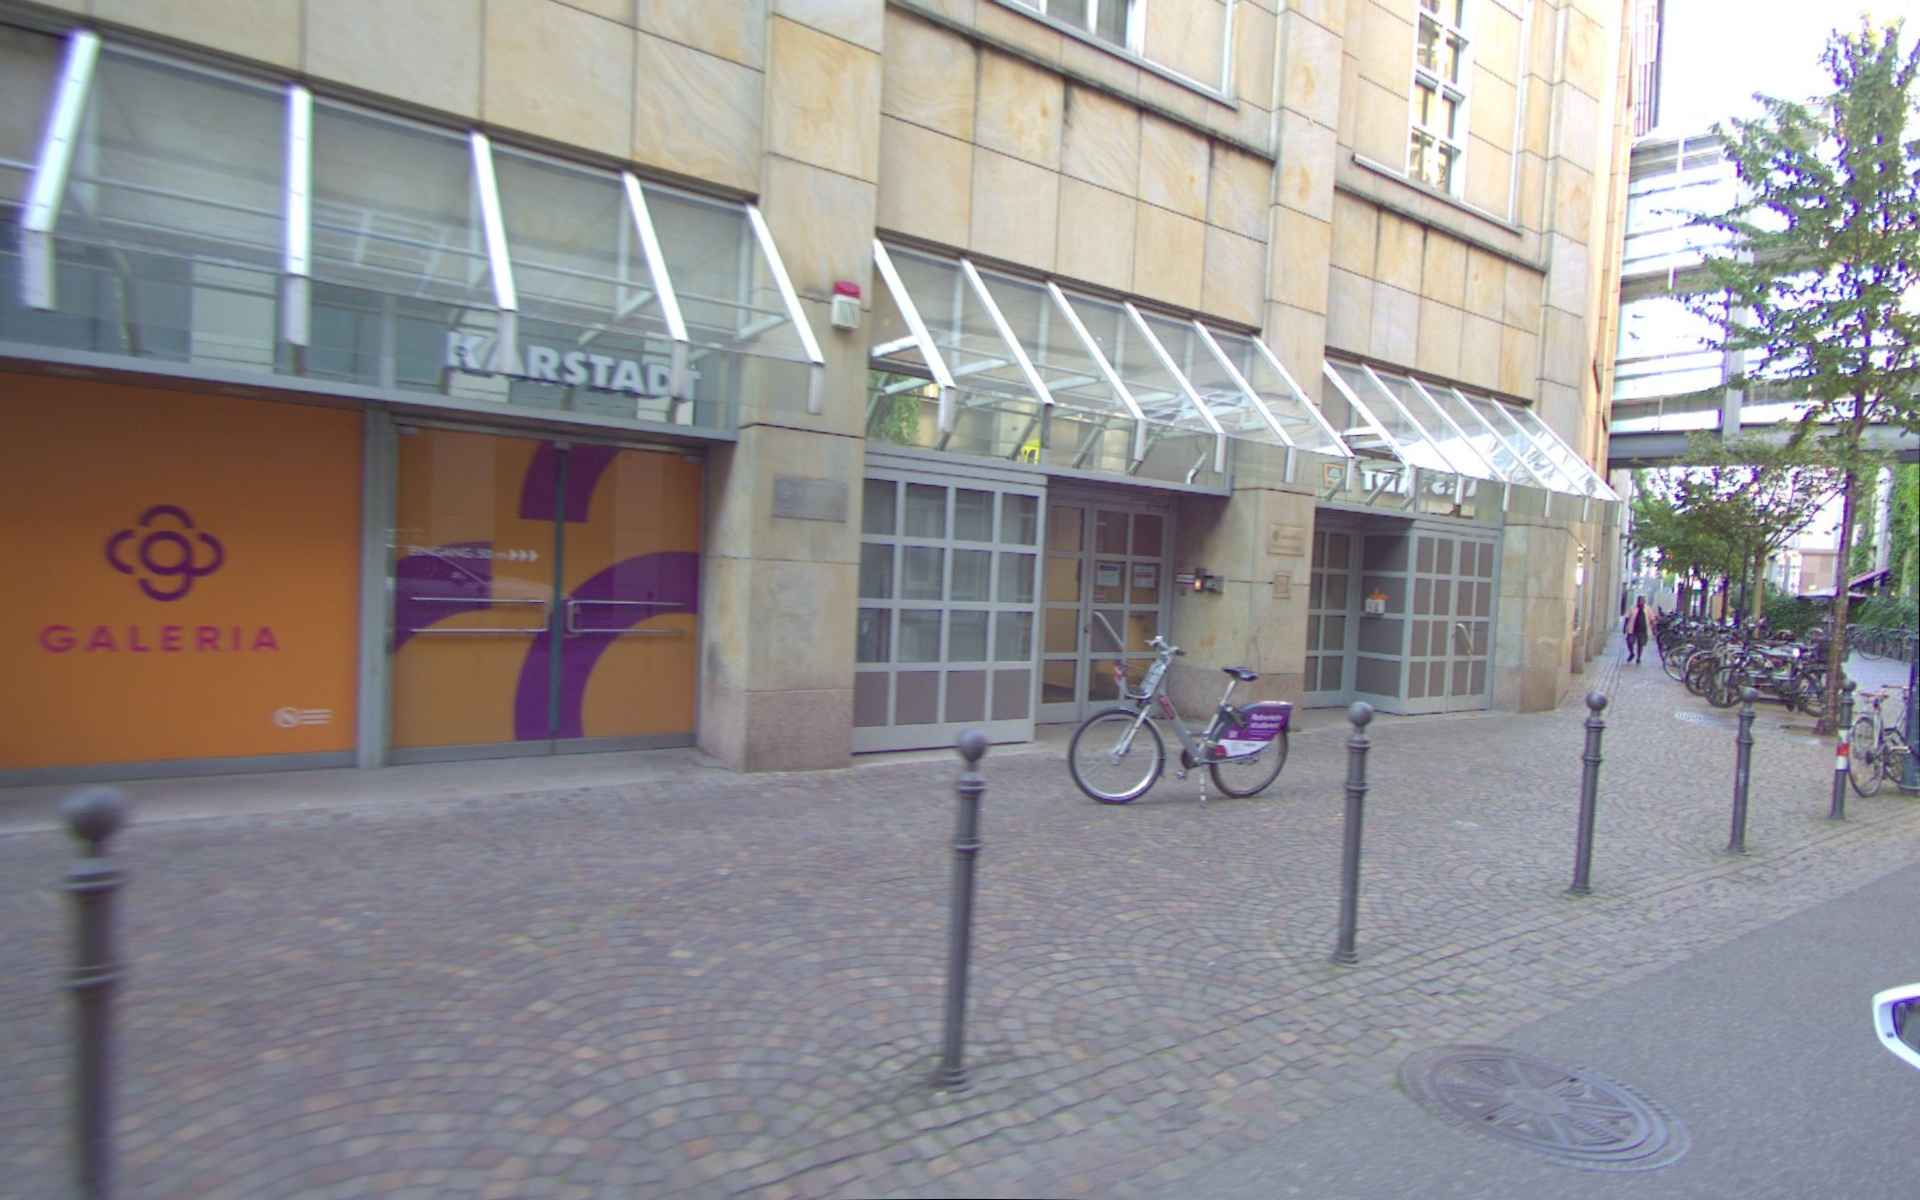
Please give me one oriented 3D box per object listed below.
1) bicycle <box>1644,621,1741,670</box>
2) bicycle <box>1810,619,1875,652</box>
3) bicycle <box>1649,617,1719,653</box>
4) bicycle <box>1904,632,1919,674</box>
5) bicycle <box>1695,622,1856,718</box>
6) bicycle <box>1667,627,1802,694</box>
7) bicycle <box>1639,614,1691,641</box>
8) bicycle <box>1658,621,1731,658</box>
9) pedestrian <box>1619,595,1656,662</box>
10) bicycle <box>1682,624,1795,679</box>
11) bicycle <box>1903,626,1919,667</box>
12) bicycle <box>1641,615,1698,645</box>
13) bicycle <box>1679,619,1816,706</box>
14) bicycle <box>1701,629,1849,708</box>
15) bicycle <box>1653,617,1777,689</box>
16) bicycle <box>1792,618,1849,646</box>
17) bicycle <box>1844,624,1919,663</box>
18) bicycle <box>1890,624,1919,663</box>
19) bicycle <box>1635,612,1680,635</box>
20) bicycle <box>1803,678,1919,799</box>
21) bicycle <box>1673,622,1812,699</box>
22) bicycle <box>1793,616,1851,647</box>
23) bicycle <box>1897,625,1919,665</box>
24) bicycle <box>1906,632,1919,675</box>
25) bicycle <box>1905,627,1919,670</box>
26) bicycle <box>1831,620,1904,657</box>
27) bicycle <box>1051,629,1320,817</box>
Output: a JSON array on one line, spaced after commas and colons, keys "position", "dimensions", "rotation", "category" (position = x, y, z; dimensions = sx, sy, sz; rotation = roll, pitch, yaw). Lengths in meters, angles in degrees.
[{"position": [17.525, 1.072, 24.075], "dimensions": [1.799, 1.057, 0.533], "rotation": [3, 1, 33], "category": "bicycle"}, {"position": [33.006, 1.317, 37.583], "dimensions": [1.751, 1.129, 0.540], "rotation": [3, 2, 38], "category": "bicycle"}, {"position": [23.220, 1.103, 32.248], "dimensions": [1.755, 1.033, 0.480], "rotation": [3, 1, 33], "category": "bicycle"}, {"position": [25.748, 1.428, 26.196], "dimensions": [1.519, 1.063, 0.573], "rotation": [3, 2, 35], "category": "bicycle"}, {"position": [11.981, 1.002, 14.825], "dimensions": [1.742, 1.247, 0.533], "rotation": [3, 2, 33], "category": "bicycle"}, {"position": [14.028, 1.072, 18.256], "dimensions": [1.868, 1.066, 0.533], "rotation": [3, 1, 33], "category": "bicycle"}, {"position": [31.811, 1.241, 45.343], "dimensions": [1.878, 1.127, 0.480], "rotation": [3, 2, 33], "category": "bicycle"}, {"position": [22.862, 1.226, 31.295], "dimensions": [1.755, 1.033, 0.480], "rotation": [3, 1, 33], "category": "bicycle"}, {"position": [16.691, 0.697, 24.752], "dimensions": [0.688, 1.604, 0.717], "rotation": [3, 2, 33], "category": "pedestrian"}, {"position": [16.911, 1.105, 21.873], "dimensions": [1.851, 1.057, 0.533], "rotation": [3, 1, 33], "category": "bicycle"}, {"position": [27.360, 1.338, 27.786], "dimensions": [1.750, 1.129, 0.541], "rotation": [3, 2, 36], "category": "bicycle"}, {"position": [29.389, 1.239, 41.644], "dimensions": [1.878, 1.127, 0.480], "rotation": [3, 2, 33], "category": "bicycle"}, {"position": [12.614, 0.975, 16.150], "dimensions": [1.631, 1.247, 0.533], "rotation": [3, 2, 33], "category": "bicycle"}, {"position": [13.393, 1.108, 16.572], "dimensions": [1.811, 1.137, 0.533], "rotation": [3, 1, 33], "category": "bicycle"}, {"position": [14.286, 0.980, 19.069], "dimensions": [1.808, 1.241, 0.533], "rotation": [3, 2, 33], "category": "bicycle"}, {"position": [36.771, 1.362, 42.937], "dimensions": [1.750, 1.093, 0.584], "rotation": [3, 2, 35], "category": "bicycle"}, {"position": [29.667, 1.379, 32.310], "dimensions": [1.750, 1.129, 0.541], "rotation": [3, 2, 36], "category": "bicycle"}, {"position": [28.775, 1.322, 29.720], "dimensions": [1.750, 1.129, 0.541], "rotation": [3, 2, 36], "category": "bicycle"}, {"position": [37.390, 1.257, 53.867], "dimensions": [1.877, 1.127, 0.480], "rotation": [3, 1, 32], "category": "bicycle"}, {"position": [8.326, 1.206, 8.912], "dimensions": [1.634, 0.951, 0.492], "rotation": [2, 3, -20], "category": "bicycle"}, {"position": [13.758, 1.040, 17.720], "dimensions": [1.846, 1.193, 0.533], "rotation": [3, 2, 33], "category": "bicycle"}, {"position": [36.142, 1.312, 42.124], "dimensions": [1.750, 1.206, 0.584], "rotation": [3, 2, 35], "category": "bicycle"}, {"position": [28.127, 1.335, 28.777], "dimensions": [1.750, 1.129, 0.541], "rotation": [3, 2, 36], "category": "bicycle"}, {"position": [24.795, 1.388, 25.139], "dimensions": [1.519, 1.063, 0.573], "rotation": [3, 2, 35], "category": "bicycle"}, {"position": [26.641, 1.356, 26.952], "dimensions": [1.750, 1.129, 0.541], "rotation": [3, 2, 36], "category": "bicycle"}, {"position": [30.686, 1.292, 33.995], "dimensions": [1.750, 1.129, 0.541], "rotation": [3, 2, 36], "category": "bicycle"}, {"position": [1.538, 0.809, 6.842], "dimensions": [1.737, 1.153, 0.521], "rotation": [2, 2, -19], "category": "bicycle"}]
